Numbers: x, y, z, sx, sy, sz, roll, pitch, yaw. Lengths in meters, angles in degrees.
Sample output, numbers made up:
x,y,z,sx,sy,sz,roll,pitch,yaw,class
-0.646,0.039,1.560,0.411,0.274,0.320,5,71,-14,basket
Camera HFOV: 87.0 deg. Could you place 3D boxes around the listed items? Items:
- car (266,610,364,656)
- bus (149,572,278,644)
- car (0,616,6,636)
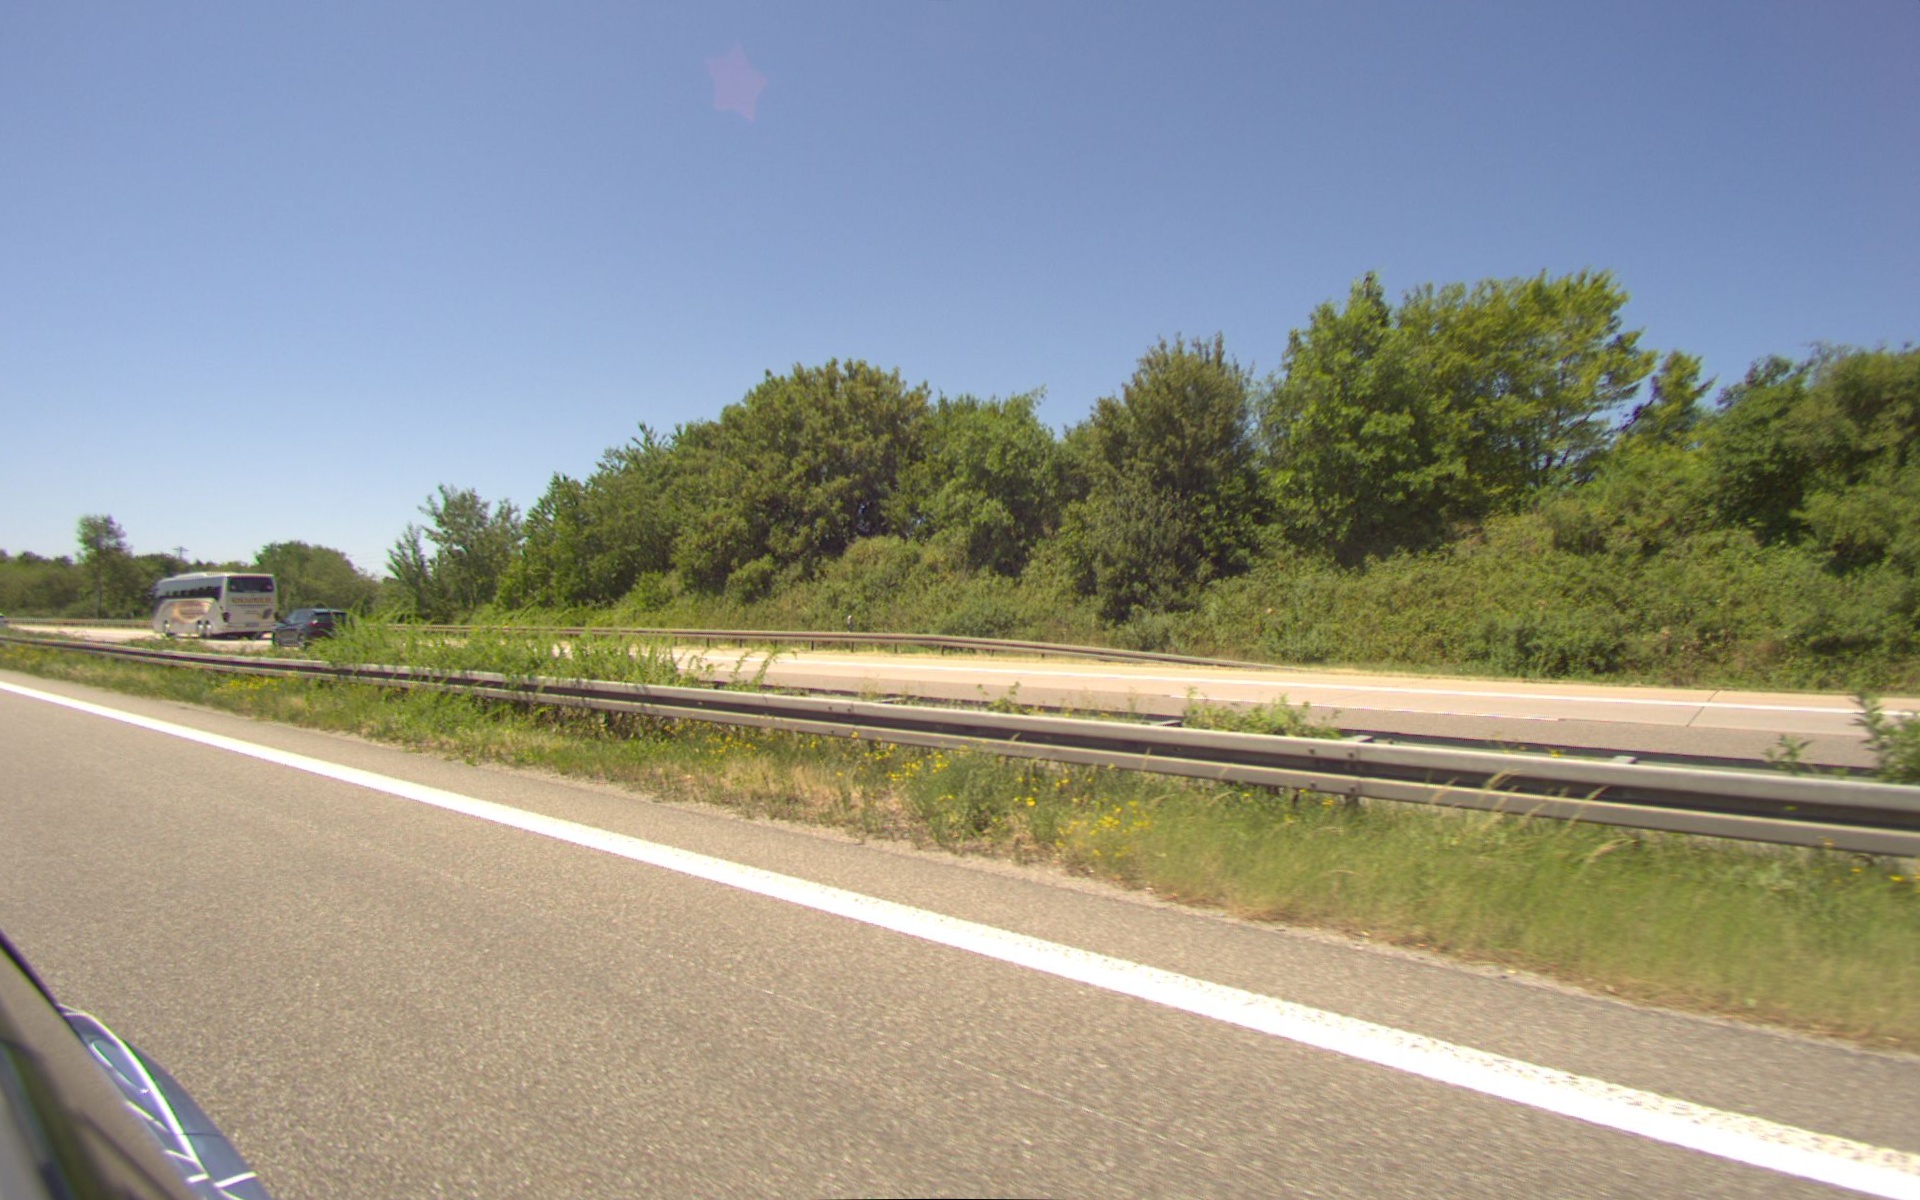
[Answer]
x,y,z,sx,sy,sz,roll,pitch,yaw,class
-24.801,1.238,38.868,4.554,1.644,1.808,-1,-2,39,car
-42.863,0.482,57.867,12.984,3.736,2.715,-1,-1,39,bus
-75.633,2.019,78.545,4.326,1.526,1.750,-1,0,39,car
